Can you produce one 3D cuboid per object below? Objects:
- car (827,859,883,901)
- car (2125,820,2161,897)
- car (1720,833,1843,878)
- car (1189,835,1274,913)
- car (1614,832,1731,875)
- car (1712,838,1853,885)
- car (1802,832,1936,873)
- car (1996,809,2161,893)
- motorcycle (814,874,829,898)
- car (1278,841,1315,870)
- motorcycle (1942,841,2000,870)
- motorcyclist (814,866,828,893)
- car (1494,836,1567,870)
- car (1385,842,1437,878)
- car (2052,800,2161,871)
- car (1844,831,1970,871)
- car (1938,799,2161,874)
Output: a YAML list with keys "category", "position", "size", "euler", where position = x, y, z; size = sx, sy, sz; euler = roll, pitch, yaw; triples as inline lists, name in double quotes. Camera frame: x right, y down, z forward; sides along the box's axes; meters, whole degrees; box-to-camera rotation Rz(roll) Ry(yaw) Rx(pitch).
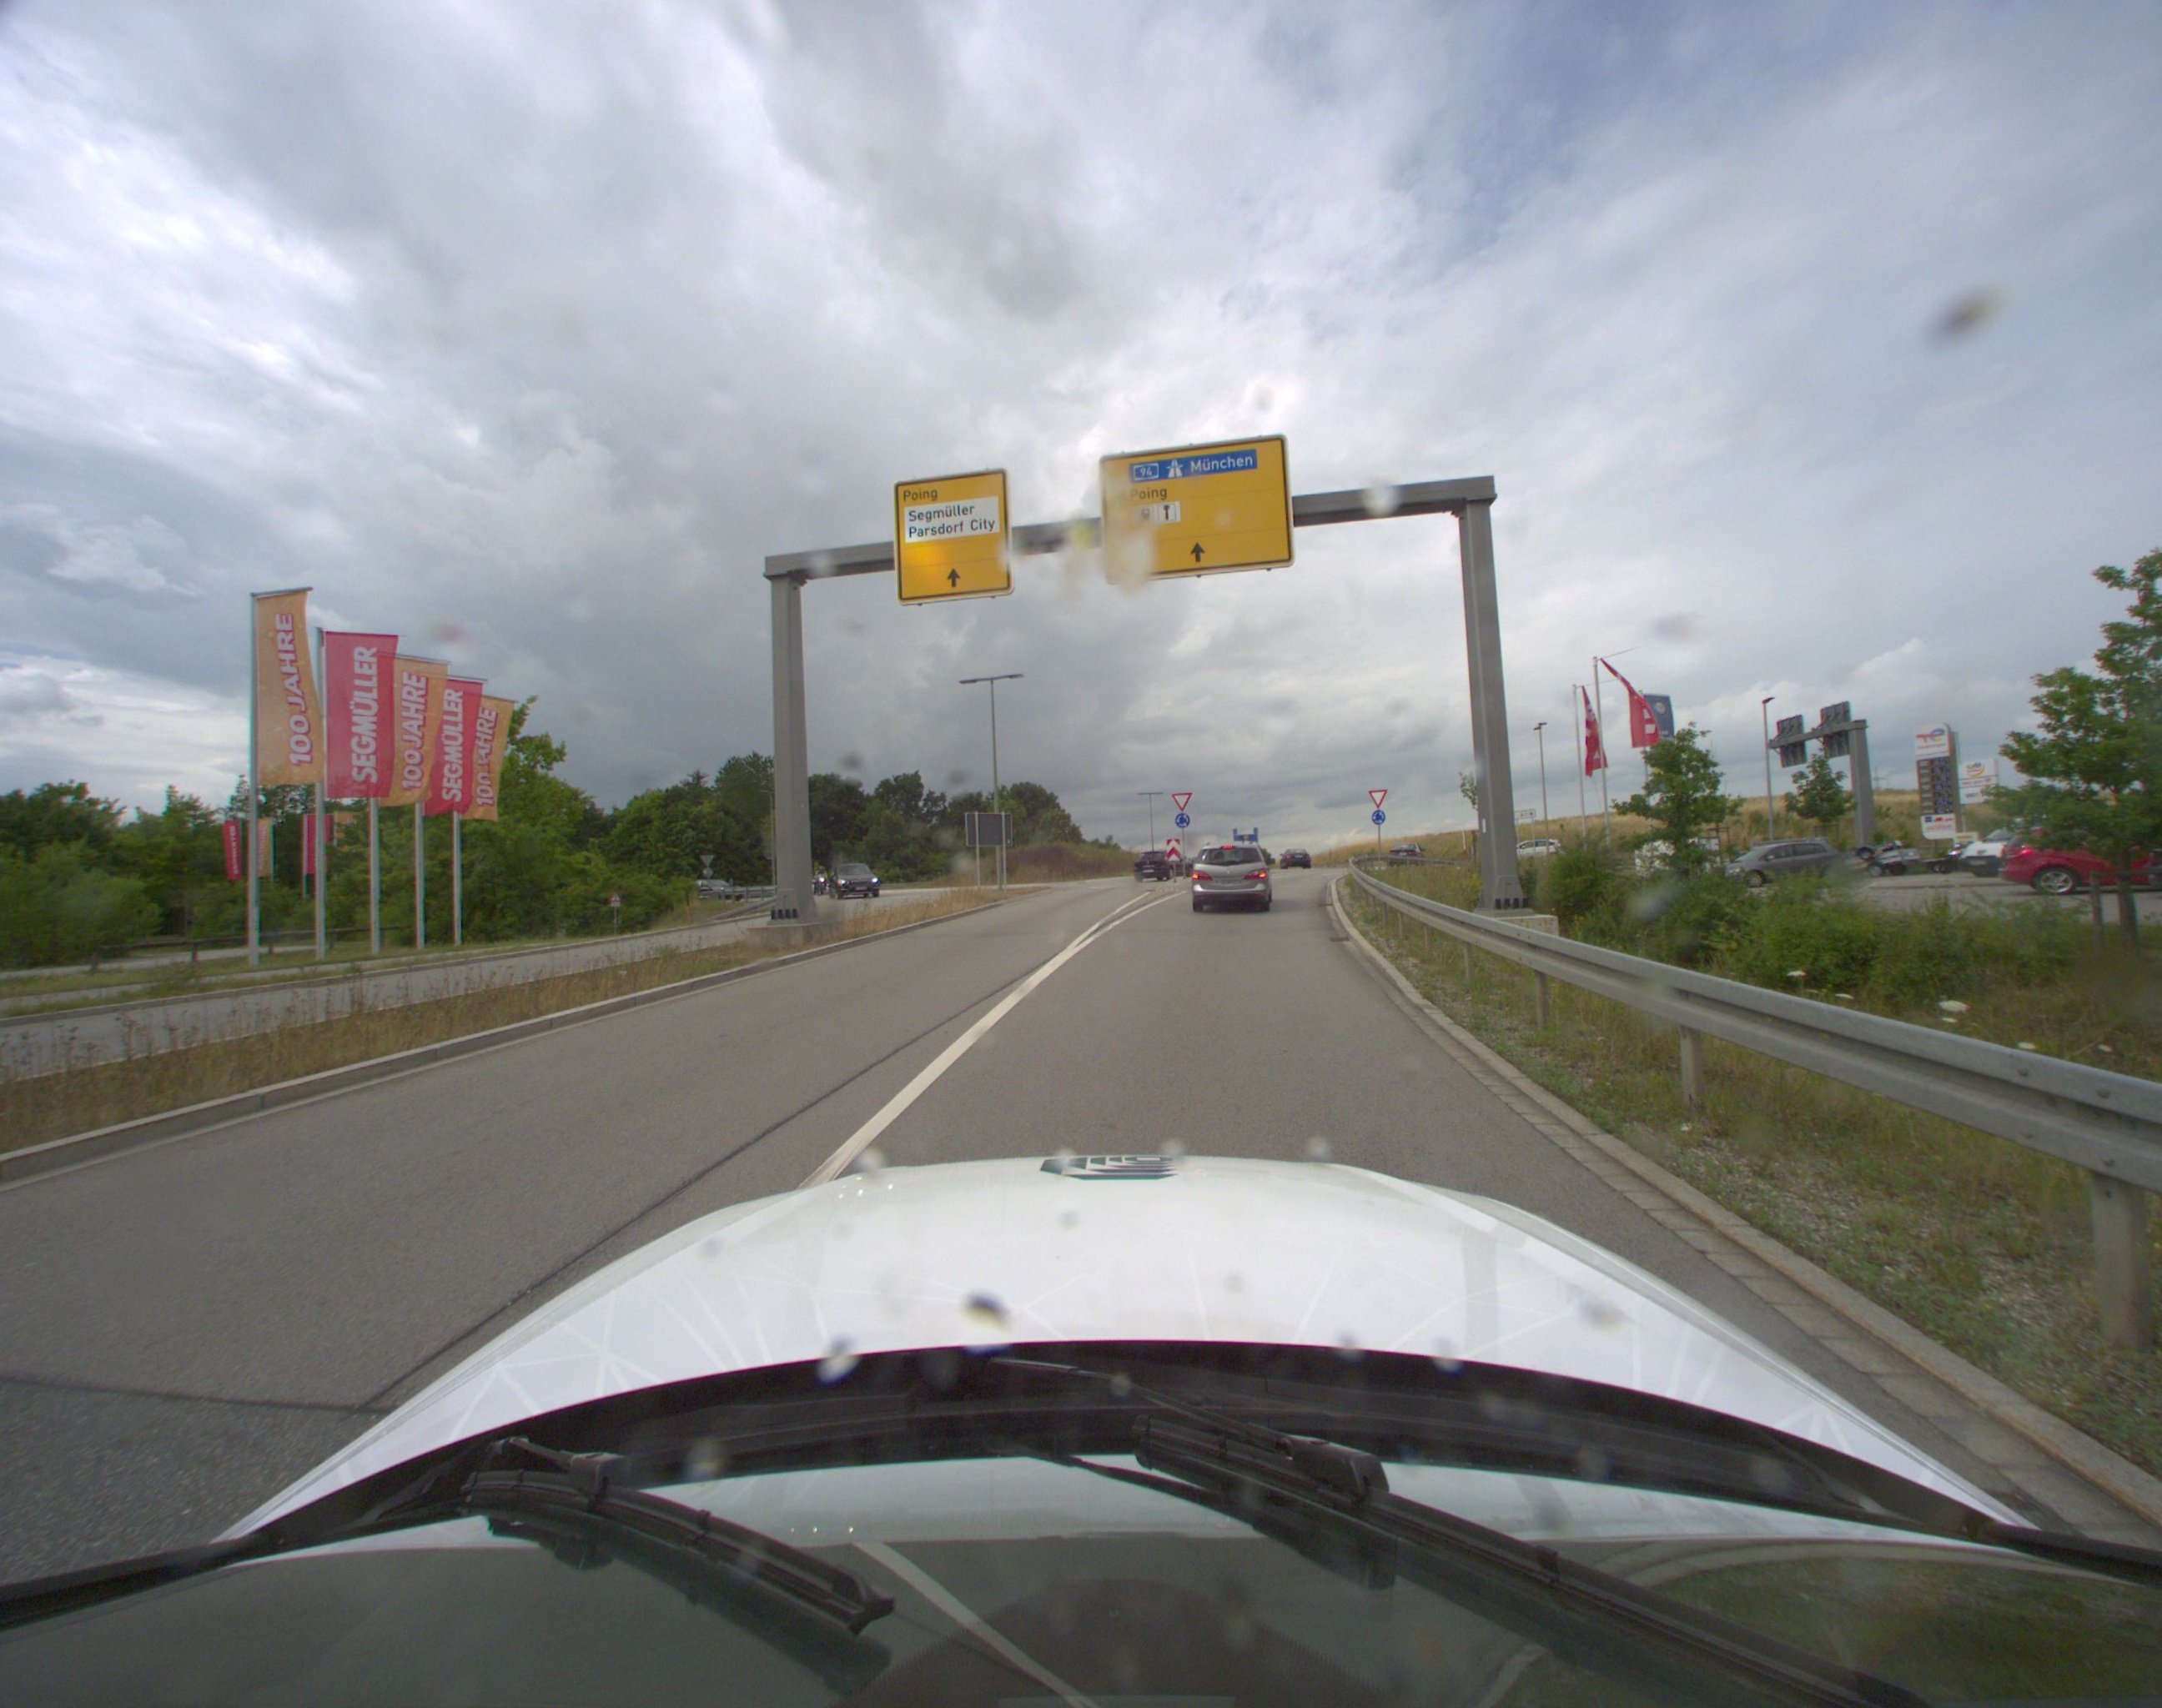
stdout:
- category: "car"
  position: [-10.371, 1.162, 37.186]
  size: [1.862, 1.665, 4.131]
  euler: [-5, 0, -23]
- category: "car"
  position: [22.127, -0.065, 14.833]
  size: [1.623, 1.420, 3.593]
  euler: [-3, -3, -43]
- category: "car"
  position: [29.109, 0.086, 33.985]
  size: [1.642, 1.693, 3.566]
  euler: [-3, -1, -13]
- category: "car"
  position: [3.655, 0.402, 19.745]
  size: [1.756, 1.616, 3.934]
  euler: [-2, 1, 11]
- category: "car"
  position: [24.718, 0.010, 34.135]
  size: [1.648, 1.625, 3.553]
  euler: [-2, -1, -25]
- category: "car"
  position: [25.829, 0.301, 30.091]
  size: [3.642, 1.483, 1.507]
  euler: [-3, -3, 8]
- category: "car"
  position: [32.970, -0.014, 34.203]
  size: [1.693, 1.547, 3.641]
  euler: [-3, -1, -13]
- category: "car"
  position: [22.823, -0.085, 17.922]
  size: [1.559, 1.624, 3.419]
  euler: [-3, -3, -43]
- category: "motorcycle"
  position: [-15.103, 1.855, 47.355]
  size: [0.751, 1.302, 2.470]
  euler: [-3, -1, -18]
- category: "car"
  position: [14.584, 0.148, 55.310]
  size: [1.886, 1.783, 4.165]
  euler: [-3, -1, 7]
- category: "motorcycle"
  position: [34.155, 0.075, 31.247]
  size: [2.345, 1.077, 0.427]
  euler: [0, -5, -17]
- category: "motorcyclist"
  position: [-15.025, 1.455, 47.068]
  size: [0.731, 1.526, 0.652]
  euler: [-3, -1, -19]
- category: "car"
  position: [30.662, -0.051, 55.672]
  size: [4.007, 2.014, 1.802]
  euler: [-3, -1, 15]
- category: "car"
  position: [18.537, 0.332, 45.653]
  size: [1.637, 1.838, 3.982]
  euler: [-4, -2, 36]
- category: "car"
  position: [28.472, -0.510, 21.447]
  size: [3.580, 1.736, 1.598]
  euler: [-2, -2, 5]
- category: "car"
  position: [35.581, -0.088, 35.197]
  size: [1.642, 1.547, 3.421]
  euler: [-3, -1, -13]
- category: "car"
  position: [29.007, -0.482, 24.230]
  size: [4.779, 2.054, 1.912]
  euler: [-1, -2, 3]
